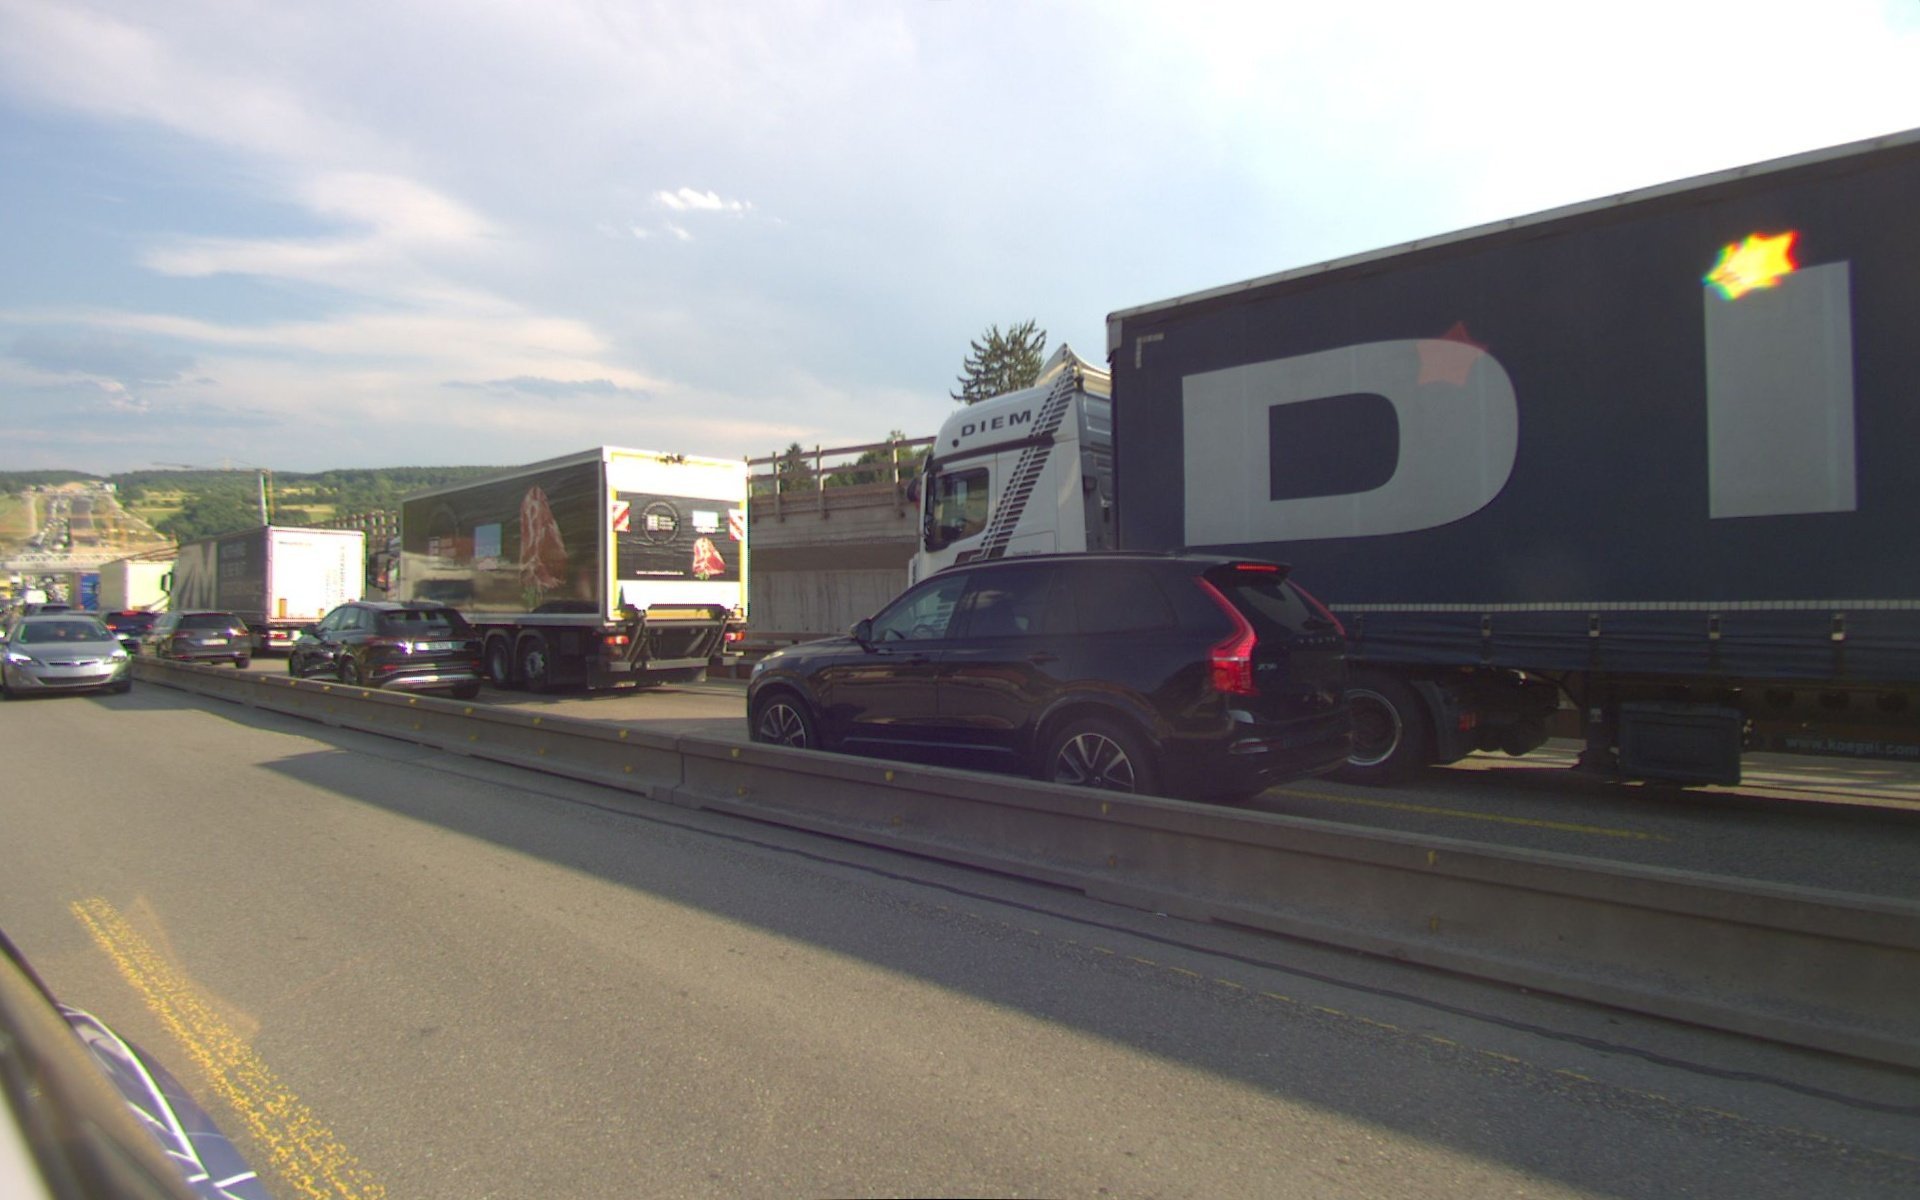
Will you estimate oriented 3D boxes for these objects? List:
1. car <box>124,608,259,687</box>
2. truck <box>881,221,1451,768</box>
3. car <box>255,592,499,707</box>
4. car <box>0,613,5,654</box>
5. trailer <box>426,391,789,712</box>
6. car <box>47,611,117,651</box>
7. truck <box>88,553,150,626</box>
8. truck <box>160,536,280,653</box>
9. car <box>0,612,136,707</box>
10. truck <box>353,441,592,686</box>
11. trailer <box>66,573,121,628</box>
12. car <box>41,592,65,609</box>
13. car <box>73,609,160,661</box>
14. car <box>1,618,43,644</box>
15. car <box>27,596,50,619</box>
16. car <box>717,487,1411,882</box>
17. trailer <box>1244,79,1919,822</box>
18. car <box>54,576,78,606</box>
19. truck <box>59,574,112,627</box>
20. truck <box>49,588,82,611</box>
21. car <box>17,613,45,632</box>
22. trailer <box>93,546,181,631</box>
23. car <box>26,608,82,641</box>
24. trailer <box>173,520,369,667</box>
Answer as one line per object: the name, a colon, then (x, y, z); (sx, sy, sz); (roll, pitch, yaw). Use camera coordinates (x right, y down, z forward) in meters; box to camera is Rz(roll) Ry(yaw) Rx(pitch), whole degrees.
car: (-19.432, 1.110, 25.515); (4.746, 1.598, 1.842); (1, 4, 43)
truck: (1.938, -0.772, 10.328); (5.026, 4.146, 2.721); (-1, -1, 40)
car: (-9.802, 0.732, 16.789); (5.366, 1.618, 1.857); (0, -2, 41)
car: (-36.247, 1.254, 36.827); (3.999, 1.452, 1.800); (-1, 1, 42)
trailer: (-6.394, -0.694, 17.684); (7.151, 4.499, 2.880); (0, 1, 42)
car: (-37.813, 1.283, 43.534); (4.815, 1.467, 1.755); (1, 2, 43)
truck: (-51.950, -0.628, 62.492); (5.476, 4.348, 2.428); (0, 0, 45)
truck: (-29.079, -0.203, 39.675); (6.116, 4.235, 2.734); (0, 0, 43)
car: (-16.882, 1.010, 18.797); (4.117, 1.498, 1.787); (0, 1, 42)
truck: (-10.476, -0.692, 21.610); (5.026, 4.548, 2.888); (0, 0, 42)
trailer: (-68.229, 0.025, 79.655); (2.783, 4.136, 8.293); (0, 0, -44)
car: (-119.315, 0.090, 133.113); (2.183, 2.037, 3.977); (-5, 3, -43)
car: (-29.451, 1.165, 35.289); (4.479, 1.562, 1.748); (1, 2, 43)
car: (-65.592, 2.143, 70.735); (4.732, 1.618, 1.860); (0, 3, 44)
car: (-111.970, 0.911, 122.921); (1.972, 2.636, 5.618); (1, -1, -44)
car: (0.442, 0.400, 7.374); (4.897, 1.978, 1.814); (1, 1, 41)
trailer: (7.909, -0.842, 5.211); (12.484, 4.154, 2.687); (-1, -1, 41)
car: (-170.148, -1.620, 192.509); (3.279, 5.427, 14.316); (0, 0, -42)
truck: (-74.796, 0.038, 86.453); (2.783, 4.290, 10.589); (0, 0, -44)
truck: (-126.984, -0.043, 143.631); (3.197, 3.169, 6.494); (0, 0, -45)
car: (-81.177, 1.943, 88.401); (1.679, 1.588, 4.373); (0, 0, -44)
trailer: (-47.072, -0.604, 57.644); (13.782, 4.352, 2.428); (0, 0, 45)
car: (-51.952, 1.363, 57.987); (4.976, 1.667, 1.986); (0, 3, 44)
trailer: (-24.205, -0.193, 35.031); (13.835, 4.235, 2.745); (0, 0, 43)
